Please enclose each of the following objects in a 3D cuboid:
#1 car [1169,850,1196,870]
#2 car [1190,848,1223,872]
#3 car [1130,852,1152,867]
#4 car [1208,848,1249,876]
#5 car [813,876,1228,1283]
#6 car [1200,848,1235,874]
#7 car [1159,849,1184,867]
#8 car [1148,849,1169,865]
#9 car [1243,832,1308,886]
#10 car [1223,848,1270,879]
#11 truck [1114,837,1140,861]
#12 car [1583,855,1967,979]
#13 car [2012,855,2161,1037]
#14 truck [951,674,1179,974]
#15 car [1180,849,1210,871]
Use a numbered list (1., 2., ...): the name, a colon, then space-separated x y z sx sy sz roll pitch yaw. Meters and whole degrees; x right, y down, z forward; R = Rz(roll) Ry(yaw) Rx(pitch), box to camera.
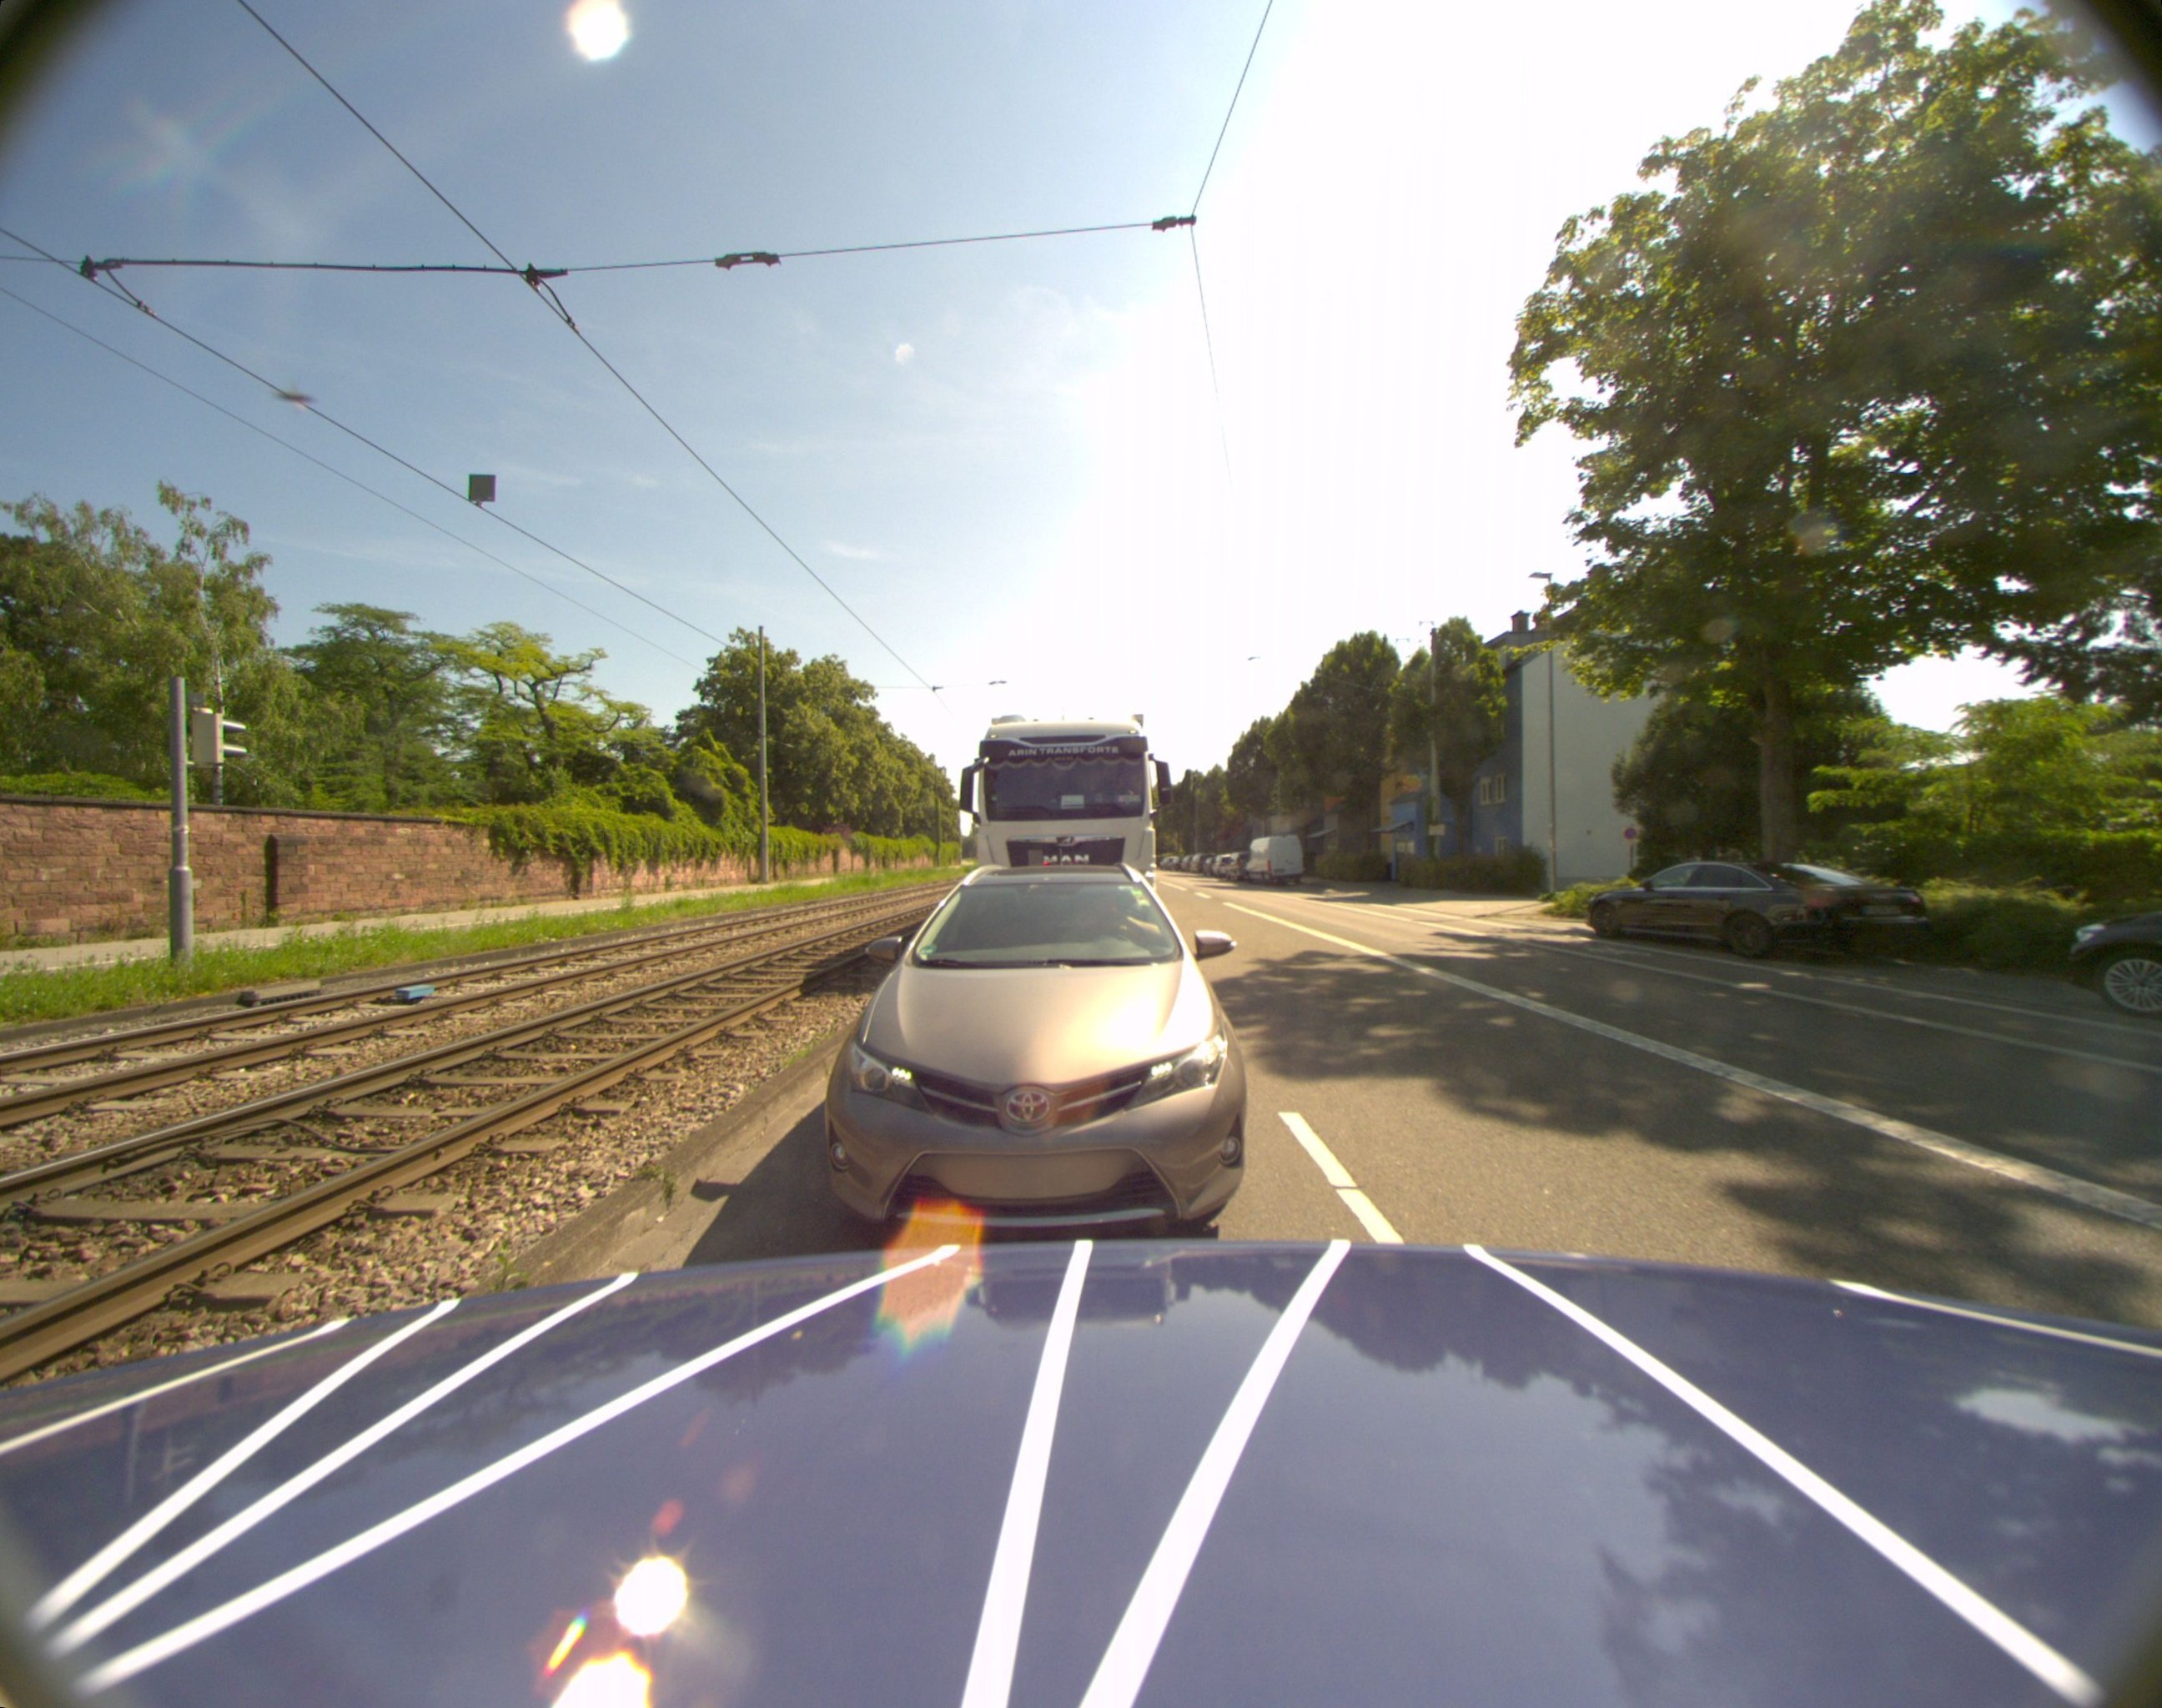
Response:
1. car: 10.575 0.631 79.163 1.998 1.795 4.769 -6 0 0
2. car: 11.099 0.507 67.670 1.998 1.795 4.769 -6 0 0
3. car: 8.284 0.792 105.566 1.999 1.795 5.111 -6 0 -4
4. car: 11.084 0.577 57.375 1.998 1.795 4.769 -6 0 0
5. car: -0.204 0.915 4.888 1.573 1.422 4.000 0 0 1
6. car: 11.228 0.561 62.859 1.998 1.795 4.256 -6 0 0
7. car: 10.188 0.480 85.907 1.998 1.795 4.769 -6 0 0
8. car: 9.896 0.378 96.851 1.998 1.795 4.769 -6 0 0
9. car: 10.912 0.251 43.147 1.998 2.678 6.214 -6 0 2
10. car: 11.141 0.635 51.443 1.998 1.795 4.769 -6 0 0
11. truck: 6.991 -0.680 116.103 2.704 3.263 6.724 -6 0 -5
12. car: 10.560 0.827 12.194 1.868 1.562 4.621 -1 0 -2
13. car: 10.585 0.828 5.566 1.868 1.562 4.621 -2 0 0
14. truck: -0.111 -0.402 17.236 2.935 3.856 14.912 0 0 1
15. car: 10.928 0.567 73.374 1.998 1.795 4.769 -6 0 0
